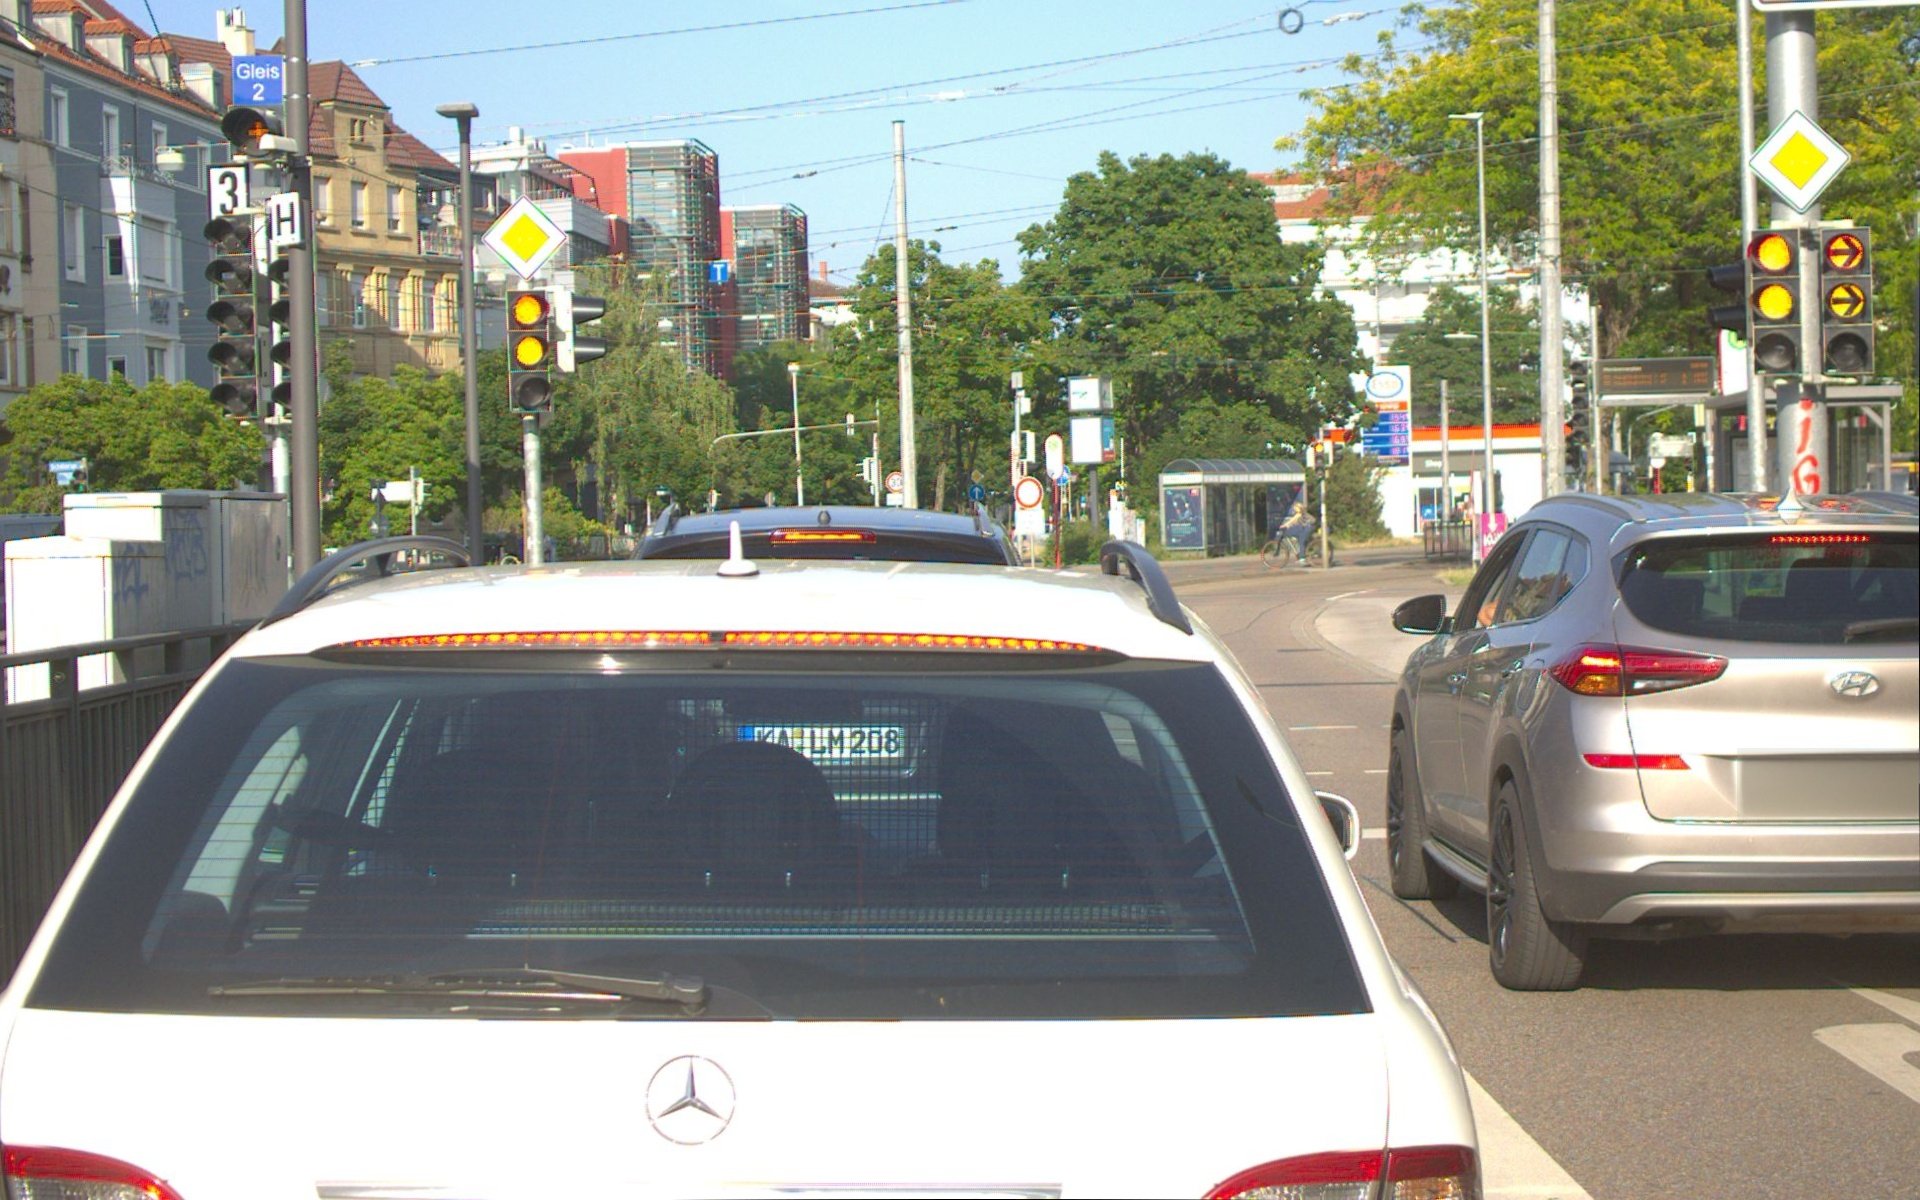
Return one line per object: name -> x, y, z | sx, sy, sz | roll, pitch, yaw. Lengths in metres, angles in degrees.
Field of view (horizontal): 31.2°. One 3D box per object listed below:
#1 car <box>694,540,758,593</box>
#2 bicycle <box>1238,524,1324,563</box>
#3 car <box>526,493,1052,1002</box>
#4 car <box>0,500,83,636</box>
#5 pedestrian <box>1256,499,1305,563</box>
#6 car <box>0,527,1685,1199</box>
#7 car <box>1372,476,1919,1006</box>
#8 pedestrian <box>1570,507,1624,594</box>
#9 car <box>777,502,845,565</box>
car -> -7.470, -1.077, 109.987 | 1.676, 1.520, 4.125 | -2, 2, 0
bicycle -> 8.160, -1.438, 87.439 | 2.019, 0.943, 0.878 | -1, 1, 19
car -> -0.558, 0.421, 12.664 | 1.641, 1.594, 3.815 | 0, 1, -1
car -> -15.106, -0.465, 51.390 | 2.146, 2.007, 5.386 | -1, 1, 5
pedestrian -> 8.153, -1.763, 87.414 | 1.007, 1.586, 0.865 | -1, 1, 19
car -> -0.276, 0.644, 5.067 | 1.835, 1.496, 3.815 | 0, 1, -1
car -> 2.637, 0.385, 12.246 | 1.835, 1.594, 3.815 | 0, 1, -1
pedestrian -> 14.946, -1.157, 80.698 | 0.997, 2.007, 0.827 | -1, 1, 27
car -> -5.459, -2.470, 126.378 | 2.177, 2.231, 5.253 | -2, 2, 0
